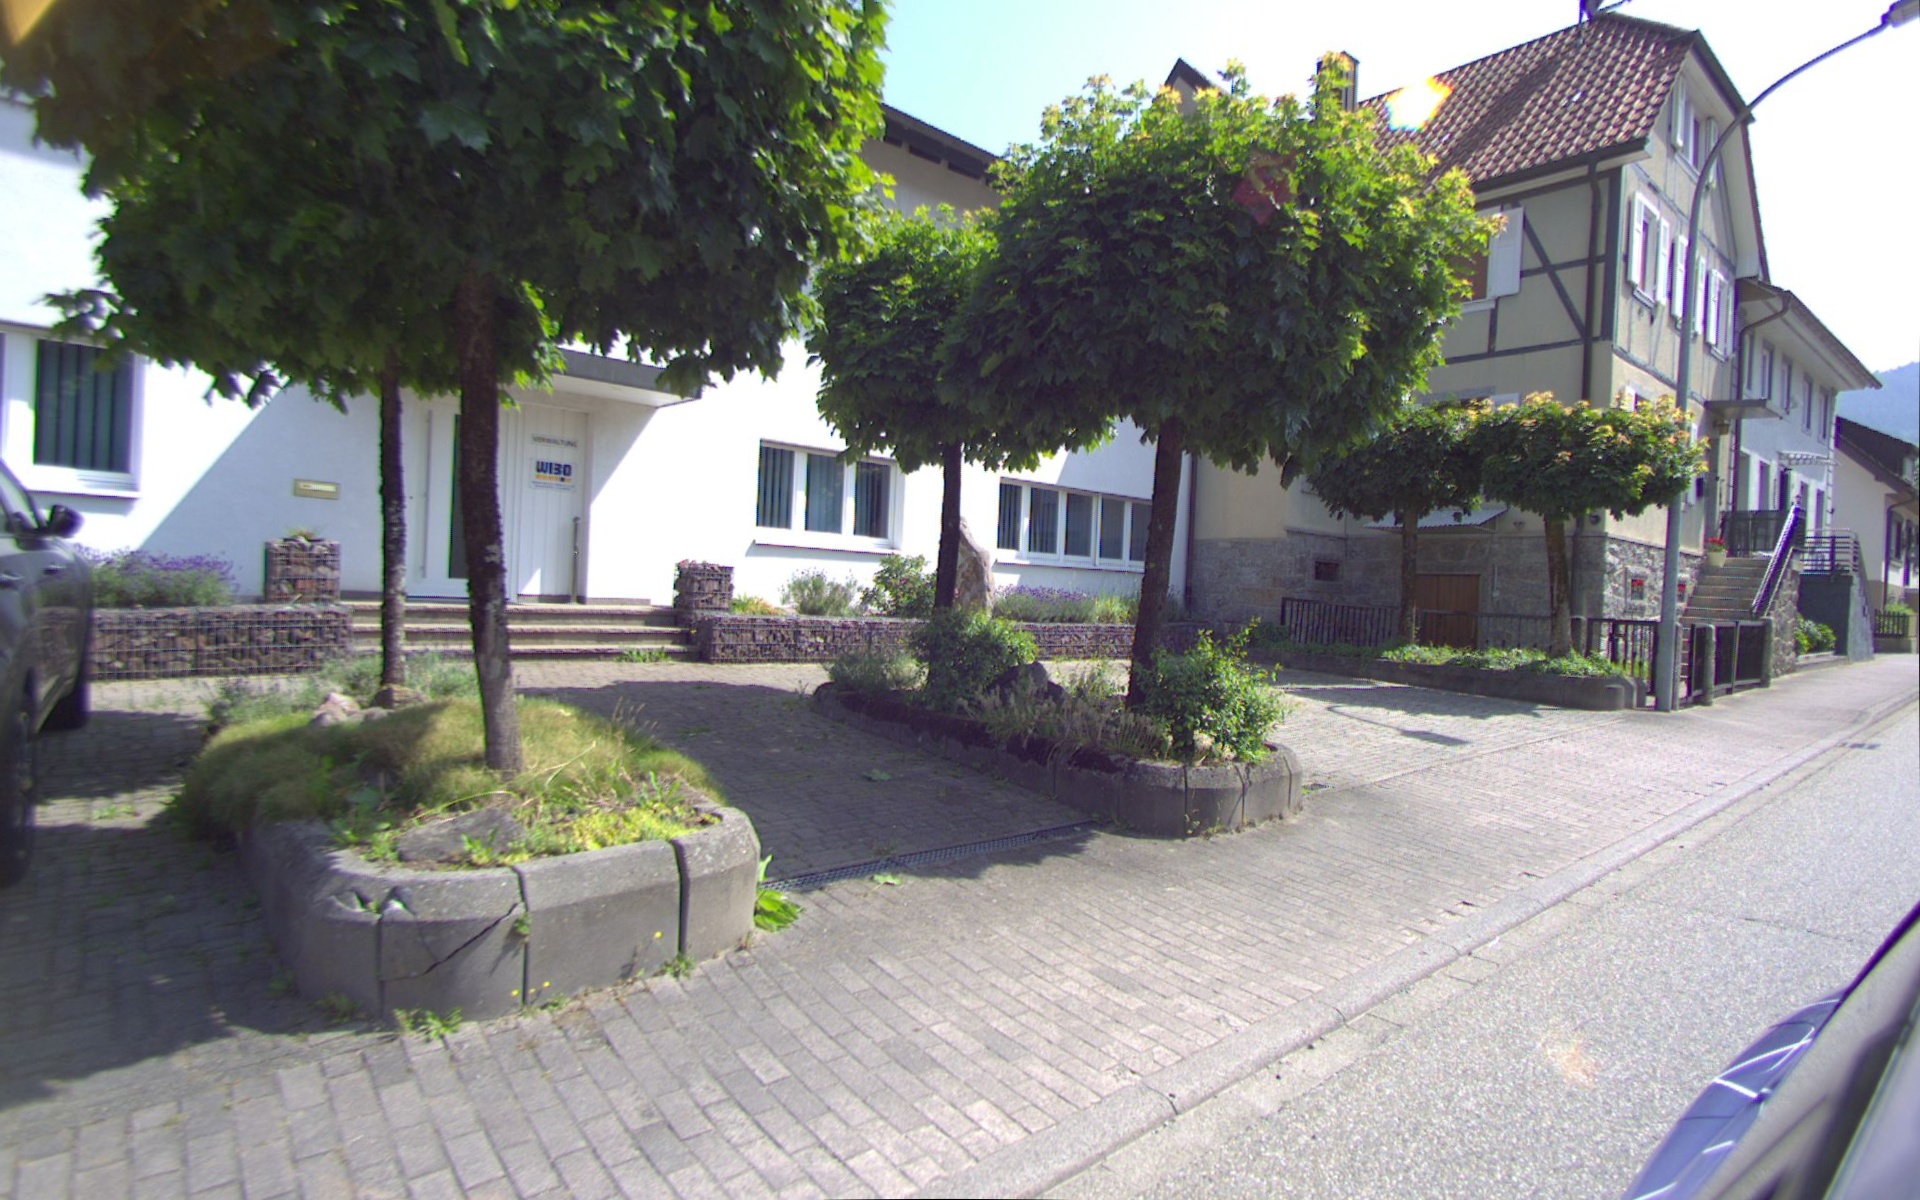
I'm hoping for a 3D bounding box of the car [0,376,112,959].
[{"bbox_3d":[-4.708,-0.045,4.094,1.744,1.706,4.238,0,7,-37],"label":"car"}]
